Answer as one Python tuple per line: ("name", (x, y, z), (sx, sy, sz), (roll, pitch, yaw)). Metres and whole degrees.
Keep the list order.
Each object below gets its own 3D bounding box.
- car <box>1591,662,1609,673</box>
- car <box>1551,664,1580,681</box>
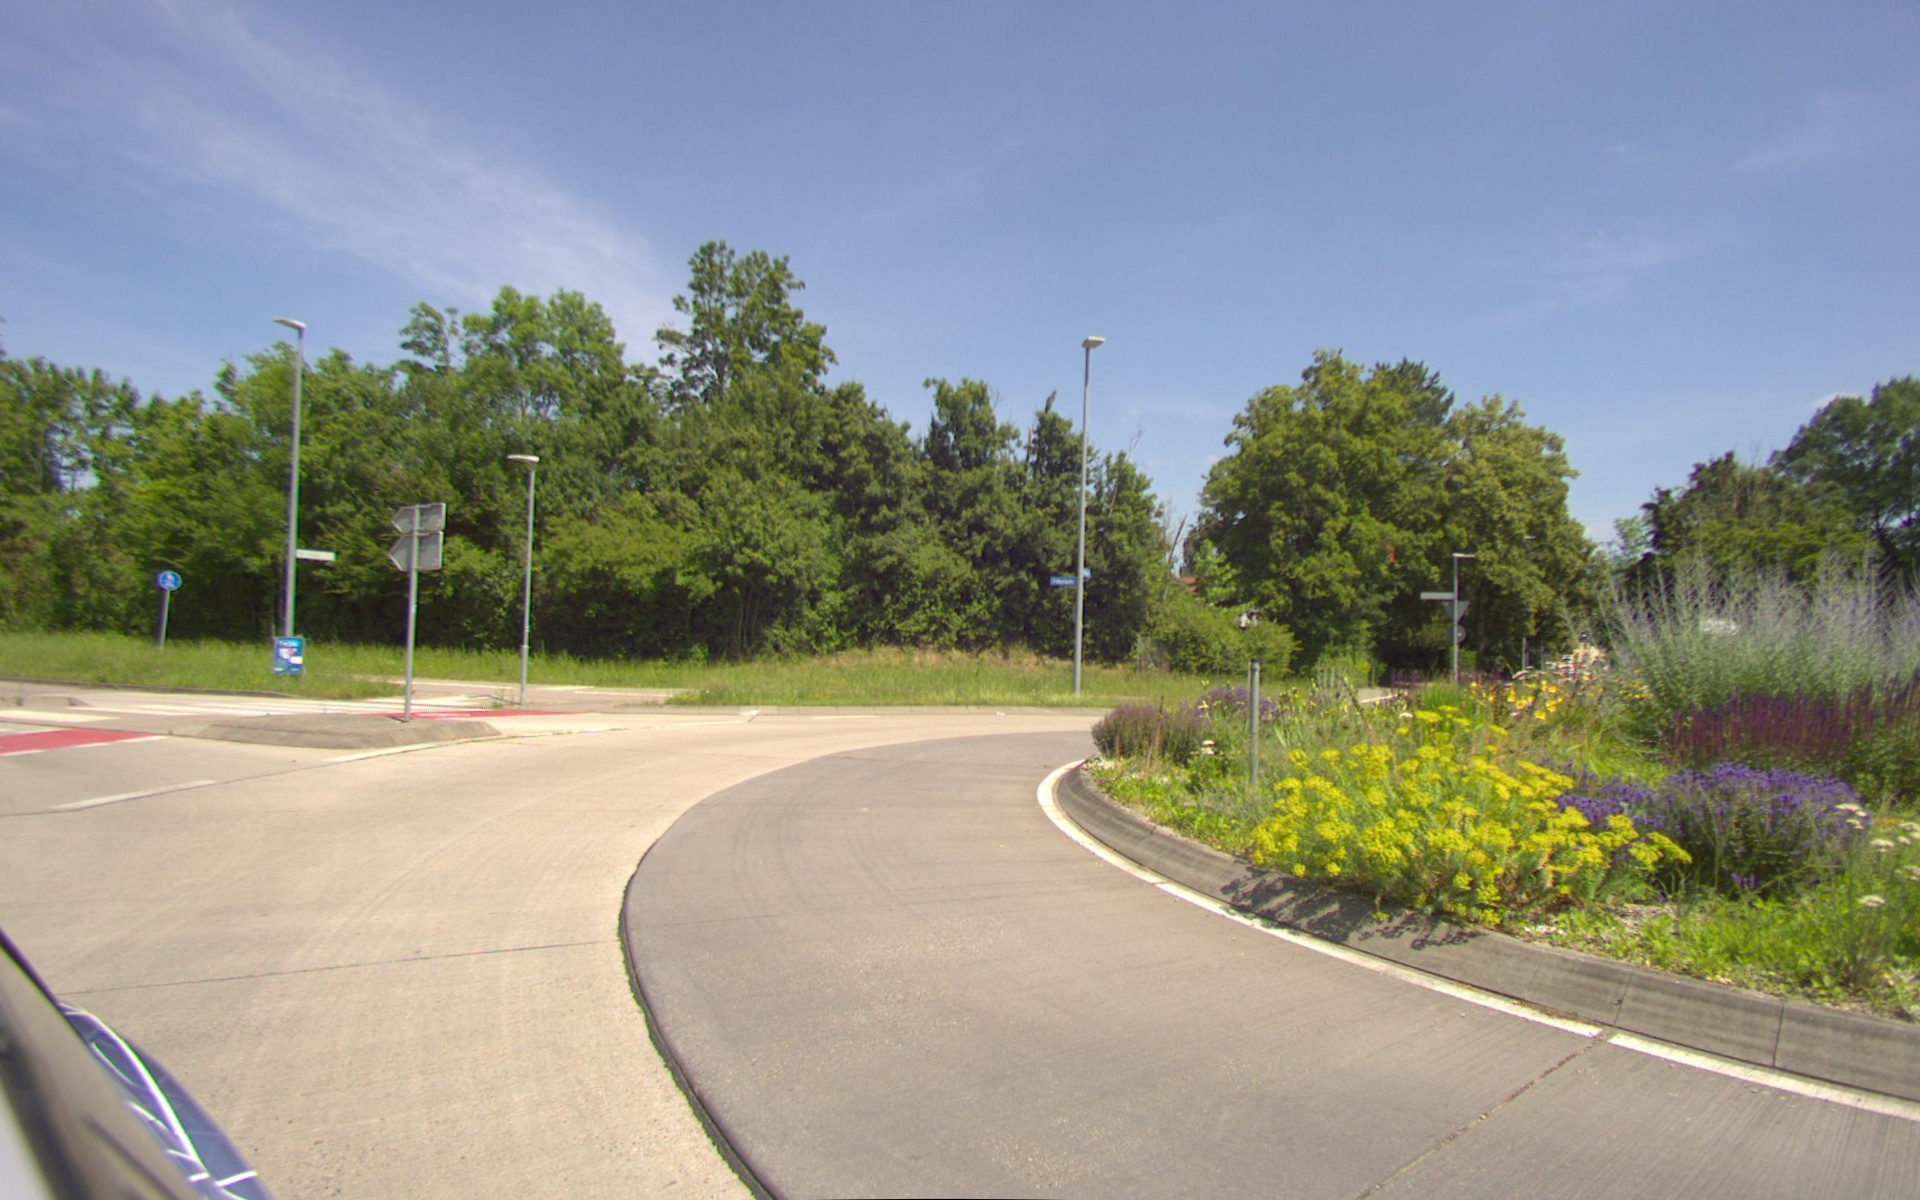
("car", (104.429, 11.009, 165.129), (1.988, 1.645, 3.966), (1, -2, 25))
("car", (64.498, 7.689, 107.837), (1.985, 1.645, 3.972), (1, -2, 20))
